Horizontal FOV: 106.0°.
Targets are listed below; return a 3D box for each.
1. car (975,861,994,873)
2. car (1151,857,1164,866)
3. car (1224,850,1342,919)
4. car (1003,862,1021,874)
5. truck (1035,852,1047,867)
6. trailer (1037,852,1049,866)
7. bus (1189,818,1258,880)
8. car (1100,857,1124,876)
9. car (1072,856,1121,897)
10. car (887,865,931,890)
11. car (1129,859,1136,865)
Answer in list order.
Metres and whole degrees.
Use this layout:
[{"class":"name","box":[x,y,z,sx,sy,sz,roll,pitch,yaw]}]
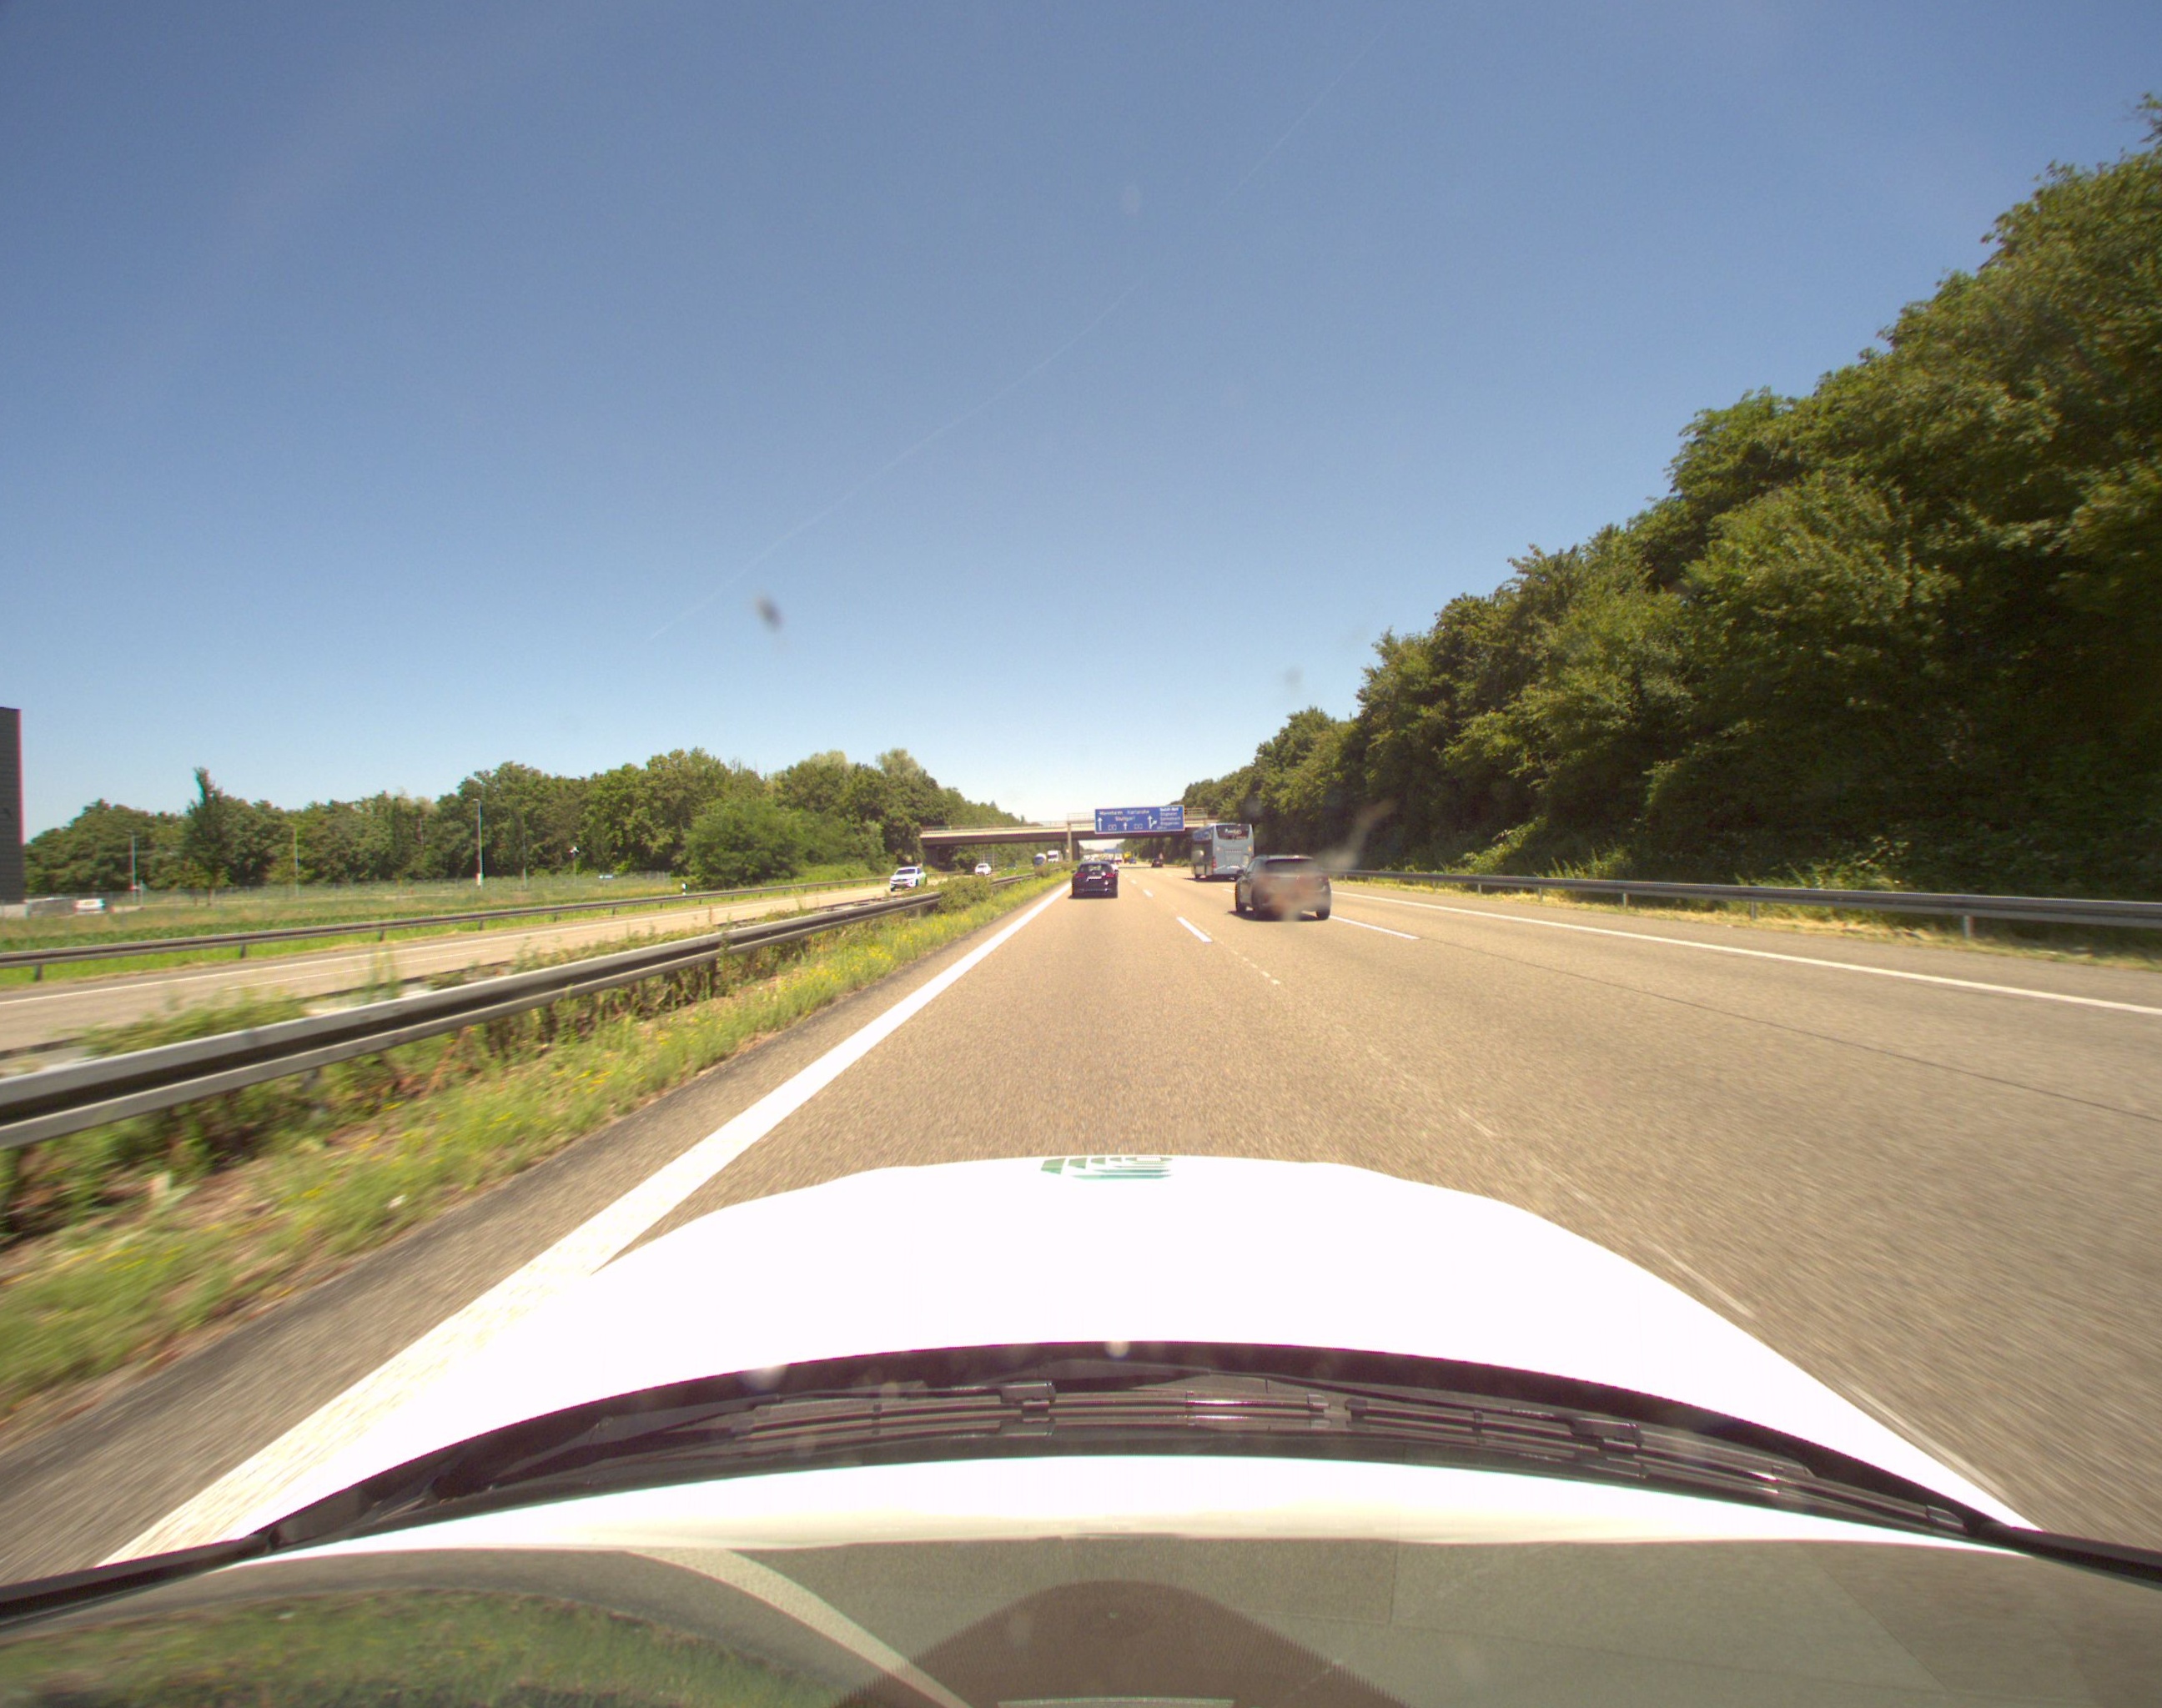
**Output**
[{"class":"car","box":[-13.411,1.790,113.078,1.893,1.594,4.743,-3,0,1]},{"class":"car","box":[12.160,1.184,129.820,1.782,1.461,3.952,-1,0,3]},{"class":"car","box":[4.999,0.700,20.876,1.893,1.532,4.760,-1,0,1]},{"class":"car","box":[-9.713,1.941,115.279,1.893,1.532,5.033,-5,-1,1]},{"class":"truck","box":[-10.716,1.386,218.502,2.351,3.775,5.254,-4,0,2]},{"class":"trailer","box":[-10.481,1.403,225.597,2.350,3.794,12.079,-4,0,2]},{"class":"bus","box":[9.211,-0.269,54.123,2.791,3.596,12.479,-1,0,2]},{"class":"car","box":[2.557,1.018,67.965,1.893,1.532,4.242,-1,0,1]},{"class":"car","box":[0.610,0.856,32.634,1.793,1.502,4.242,-1,0,1]},{"class":"car","box":[-11.650,1.561,55.406,1.801,1.483,4.418,-4,0,2]},{"class":"car","box":[14.084,2.155,222.686,2.072,1.532,4.244,-1,0,3]}]
